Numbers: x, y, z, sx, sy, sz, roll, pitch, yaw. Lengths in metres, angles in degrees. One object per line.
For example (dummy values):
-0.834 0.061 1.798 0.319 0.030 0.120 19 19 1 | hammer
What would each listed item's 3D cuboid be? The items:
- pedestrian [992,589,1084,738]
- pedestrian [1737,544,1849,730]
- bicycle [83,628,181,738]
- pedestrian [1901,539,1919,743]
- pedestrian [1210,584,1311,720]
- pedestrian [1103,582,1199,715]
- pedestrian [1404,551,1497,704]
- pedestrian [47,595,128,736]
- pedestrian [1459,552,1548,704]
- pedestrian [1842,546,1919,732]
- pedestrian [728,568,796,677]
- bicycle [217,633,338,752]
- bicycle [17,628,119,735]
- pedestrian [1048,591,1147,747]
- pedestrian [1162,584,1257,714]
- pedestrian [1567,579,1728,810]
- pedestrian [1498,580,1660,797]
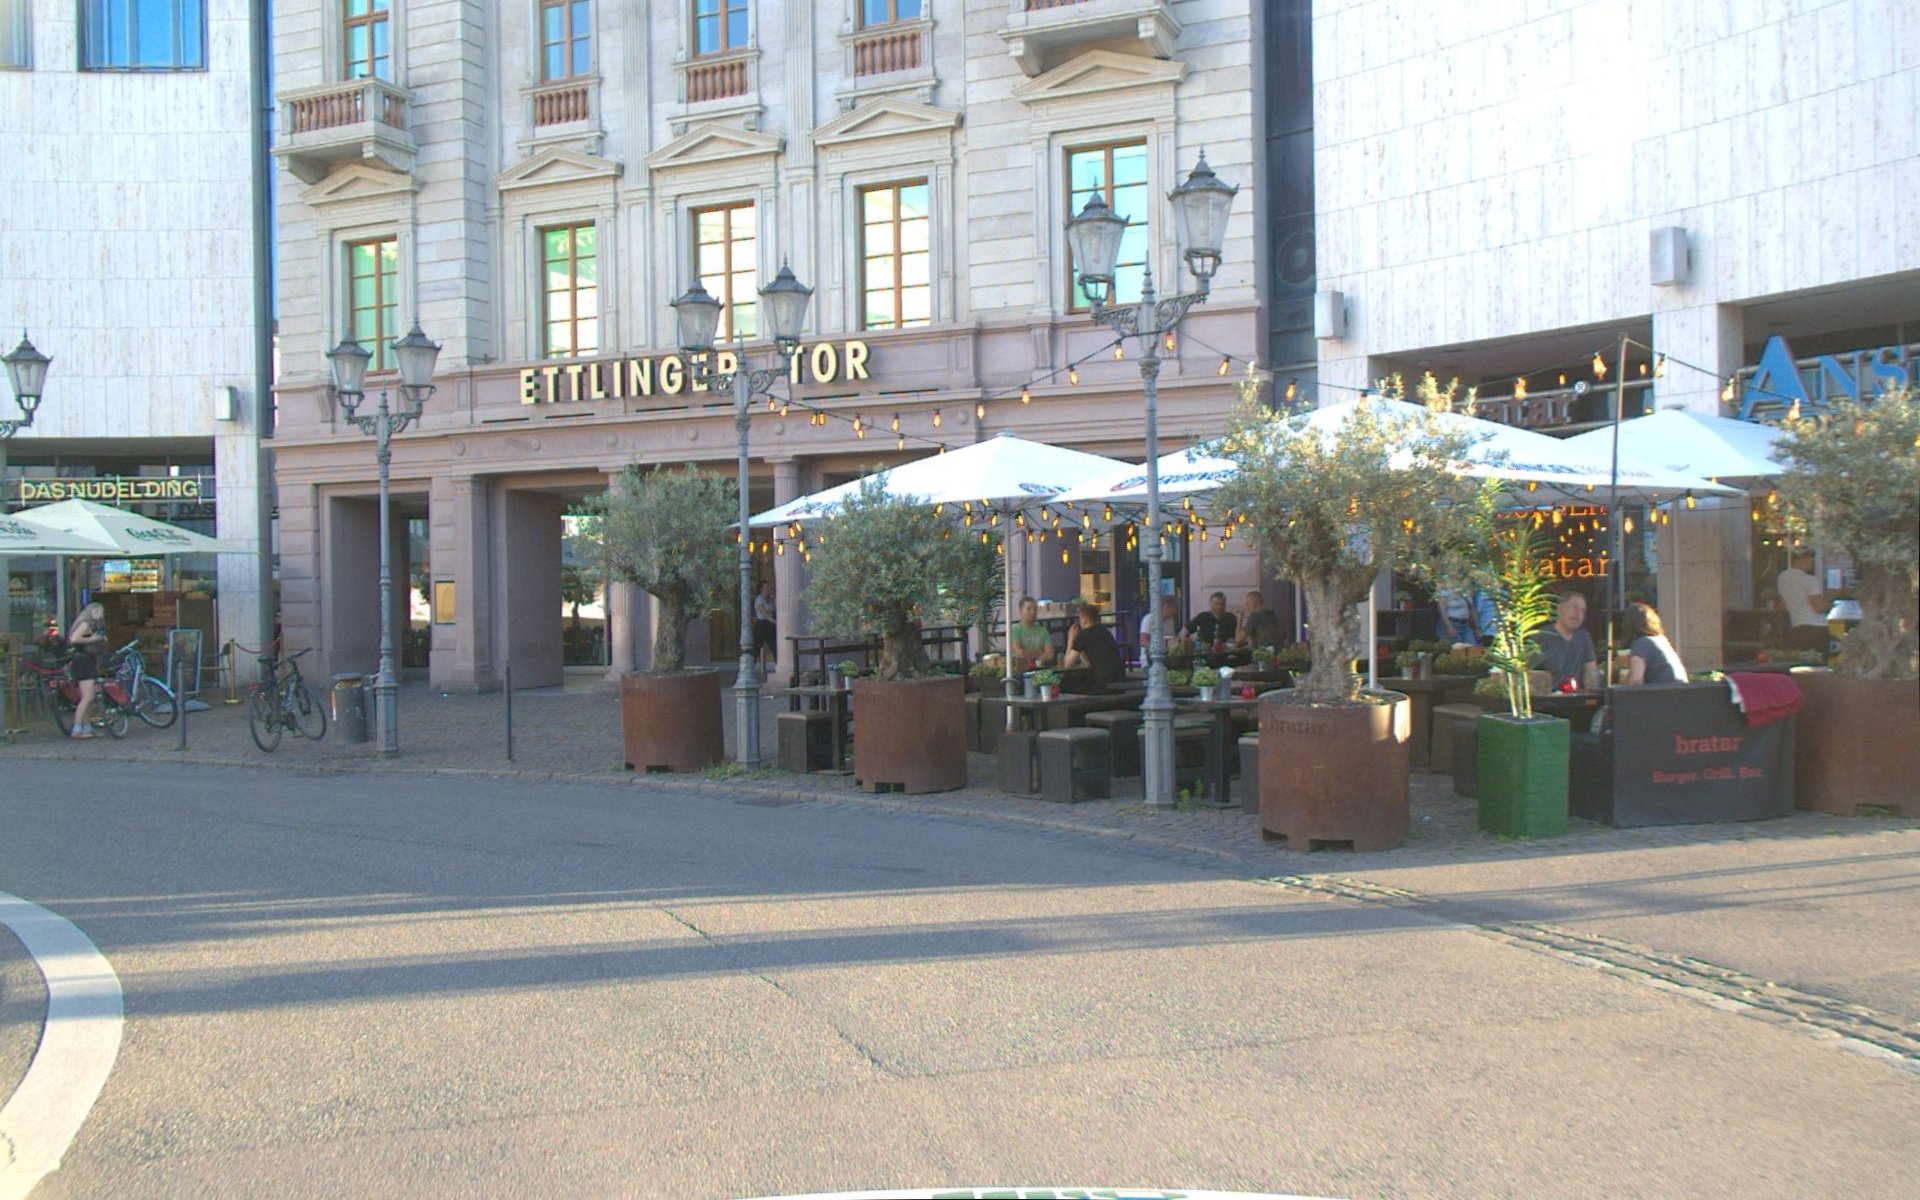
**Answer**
0.794 0.634 17.062 0.709 1.472 0.862 -1 0 -14 | pedestrian
8.226 0.349 16.341 0.701 1.777 0.709 -1 0 -32 | pedestrian
-10.008 0.974 20.041 0.595 1.147 1.900 -1 2 -13 | bicycle
8.727 0.349 14.317 0.702 1.777 0.707 -1 0 -16 | pedestrian
3.358 0.563 18.505 0.762 1.472 0.847 -1 0 -23 | pedestrian
2.180 0.538 18.936 0.762 1.472 0.846 -1 0 -24 | pedestrian
6.050 0.323 20.436 0.713 1.834 0.979 -1 0 -11 | pedestrian
-10.324 0.758 19.593 0.736 1.616 0.710 -1 0 -20 | pedestrian
6.756 0.339 20.573 0.714 1.834 0.848 -1 0 -11 | pedestrian
9.223 0.366 16.255 0.701 1.777 0.709 -1 0 -32 | pedestrian
-3.285 0.366 27.422 0.851 1.777 0.716 -1 0 25 | pedestrian
-7.630 1.003 18.574 0.593 1.147 1.906 -1 2 -2 | bicycle
-10.988 0.977 20.430 0.595 1.147 1.900 -1 2 -13 | bicycle
1.339 0.655 16.250 0.709 1.472 0.862 -1 0 -14 | pedestrian
2.918 0.556 19.383 0.762 1.472 0.847 -1 0 -23 | pedestrian
4.582 0.605 11.057 0.709 1.472 0.691 -1 0 -14 | pedestrian
4.407 0.602 11.823 0.709 1.472 0.862 -1 0 -14 | pedestrian
